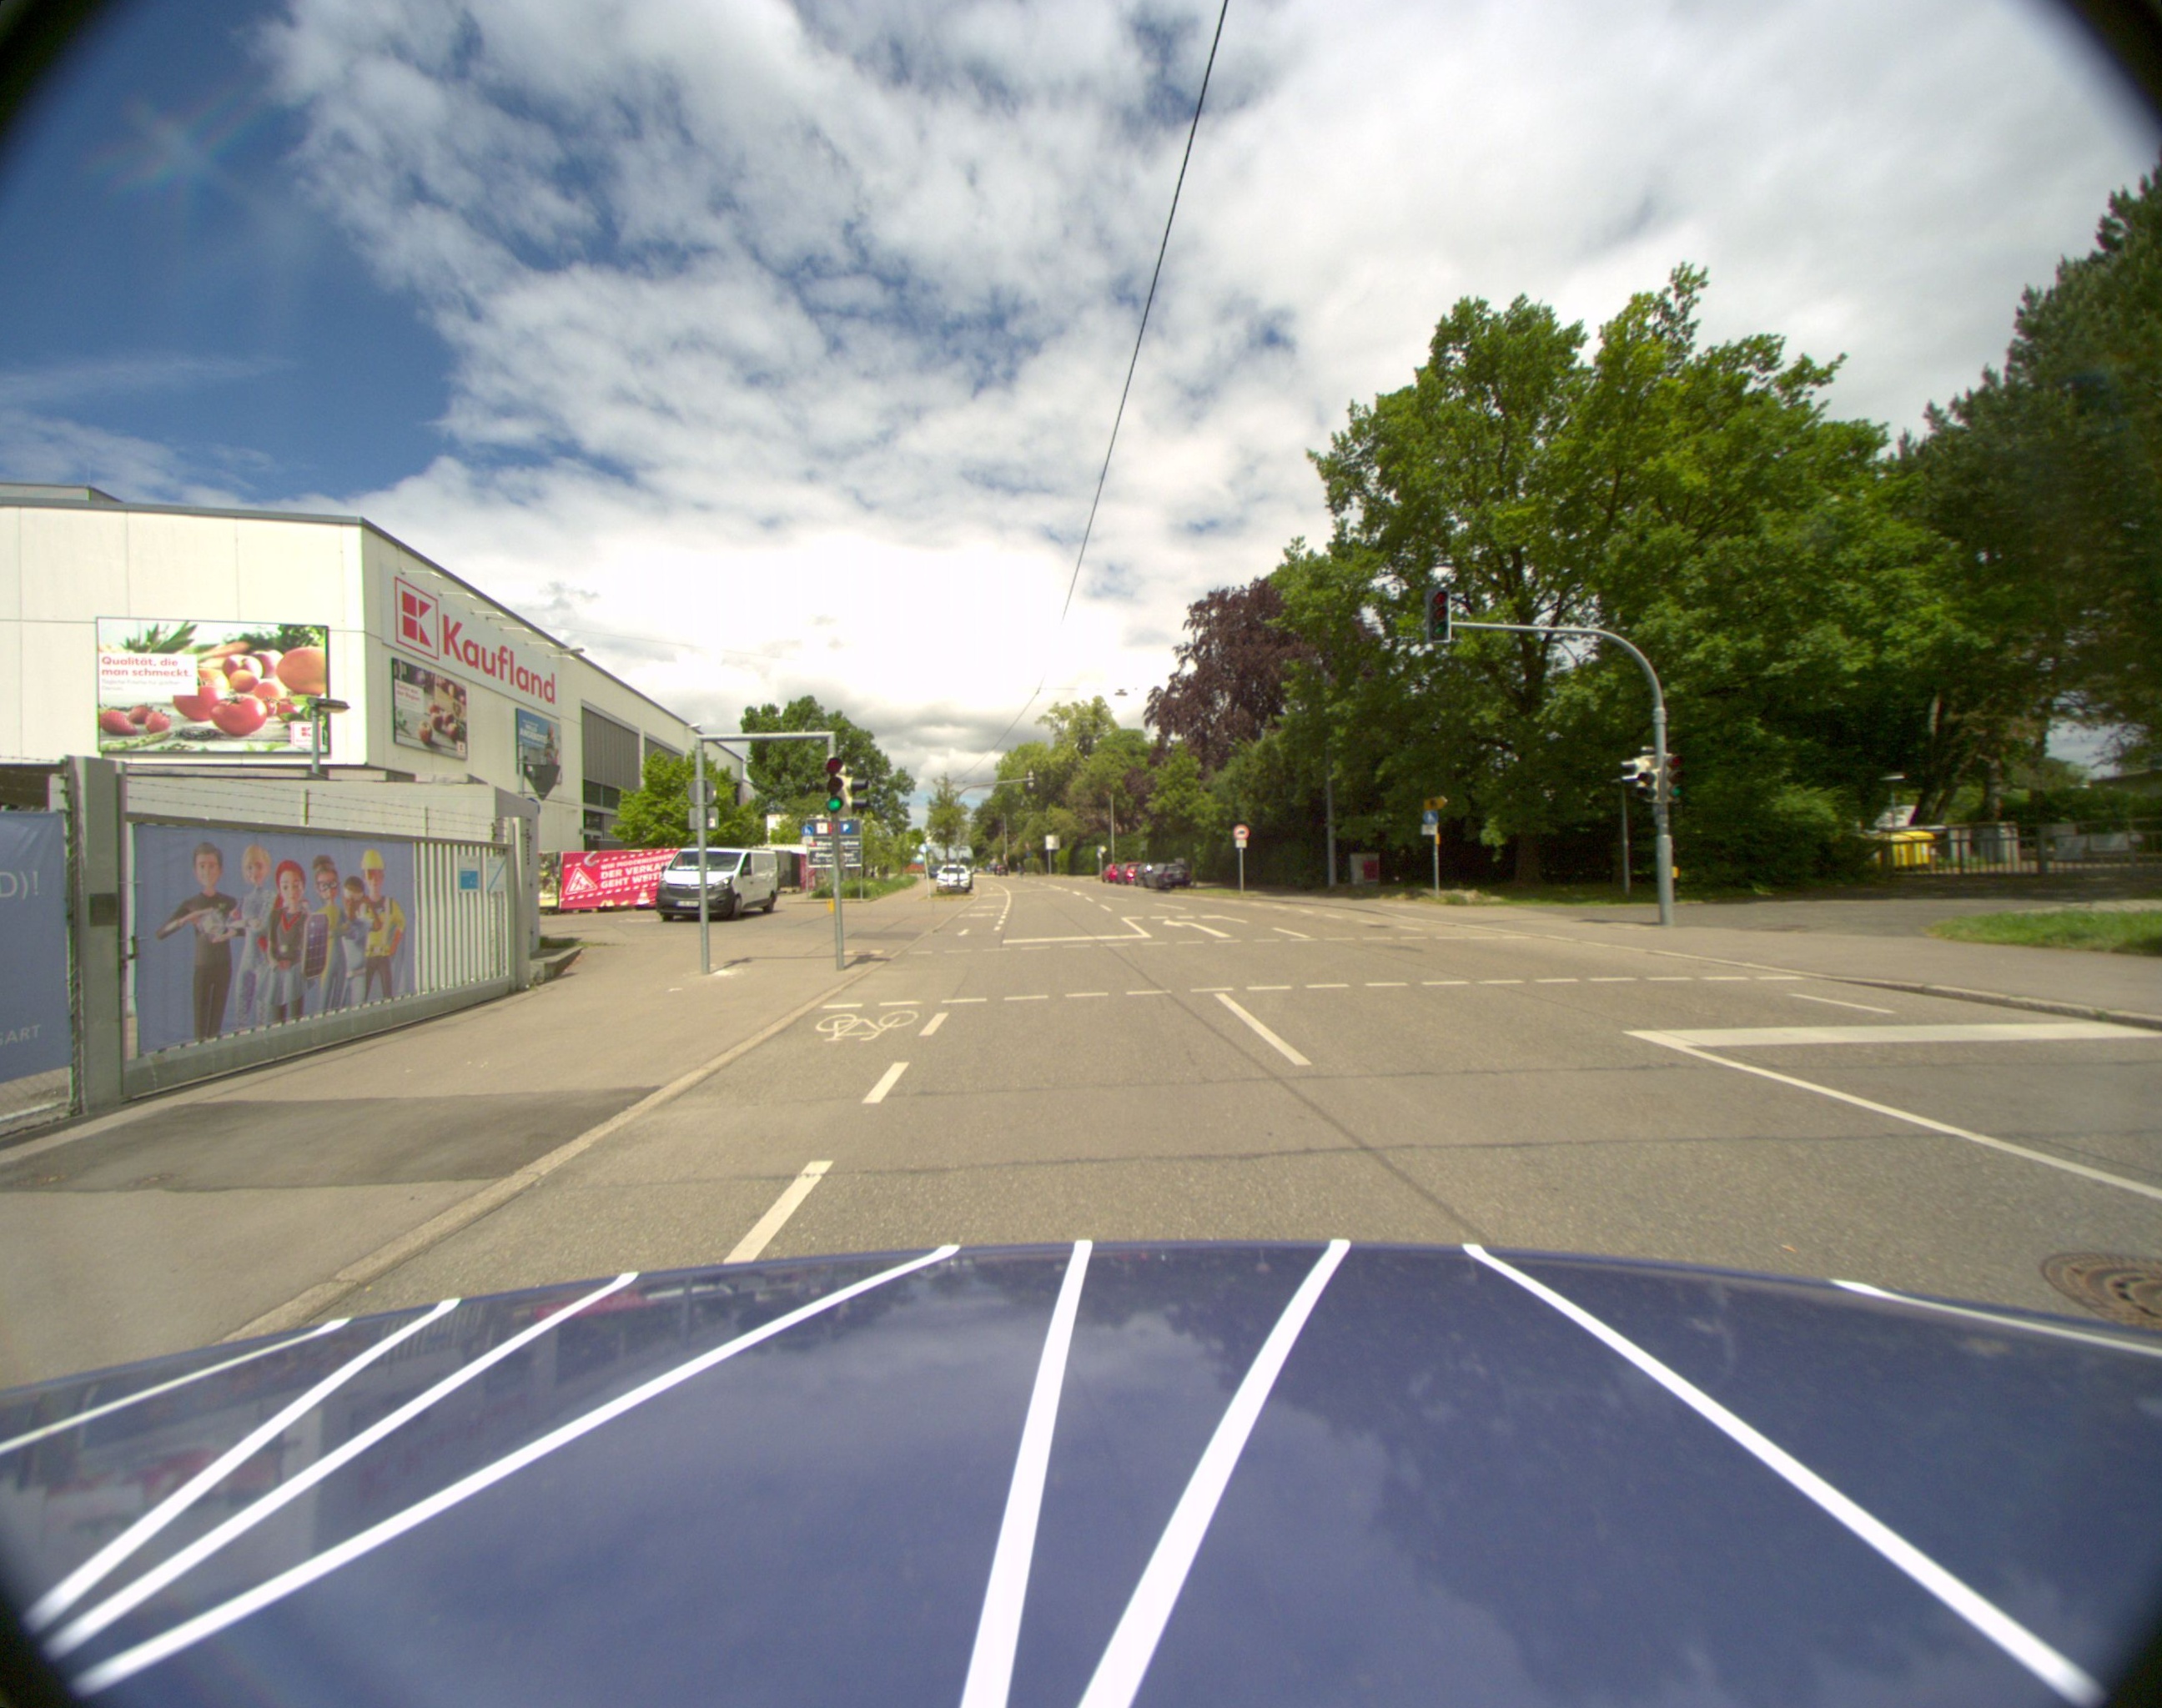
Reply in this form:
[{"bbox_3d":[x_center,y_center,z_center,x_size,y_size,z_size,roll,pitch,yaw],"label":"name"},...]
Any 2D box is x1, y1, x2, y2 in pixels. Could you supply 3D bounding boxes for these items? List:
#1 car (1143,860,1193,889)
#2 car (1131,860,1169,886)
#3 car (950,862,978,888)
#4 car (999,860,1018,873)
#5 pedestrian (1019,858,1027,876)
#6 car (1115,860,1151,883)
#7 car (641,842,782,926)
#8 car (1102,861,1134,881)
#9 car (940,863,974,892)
[{"bbox_3d":[4.824,1.116,42.704,1.688,1.407,4.398,-3,1,-8],"label":"car"},{"bbox_3d":[4.256,1.158,47.330,1.560,1.404,3.191,-3,1,-8],"label":"car"},{"bbox_3d":[-7.593,1.349,49.542,1.603,1.552,3.788,1,0,-7],"label":"car"},{"bbox_3d":[-8.998,1.530,94.121,1.852,1.546,3.946,-3,0,-13],"label":"car"},{"bbox_3d":[-5.489,1.196,71.971,0.554,1.663,0.587,-3,0,-28],"label":"pedestrian"},{"bbox_3d":[3.497,1.174,51.692,1.524,1.469,3.321,-3,0,-12],"label":"car"},{"bbox_3d":[-10.057,0.750,21.219,2.000,2.011,5.347,2,0,-8],"label":"car"},{"bbox_3d":[2.727,1.251,56.838,1.531,1.358,3.372,-3,1,-11],"label":"car"},{"bbox_3d":[-7.132,1.327,43.936,1.796,1.522,3.918,1,0,-8],"label":"car"}]
